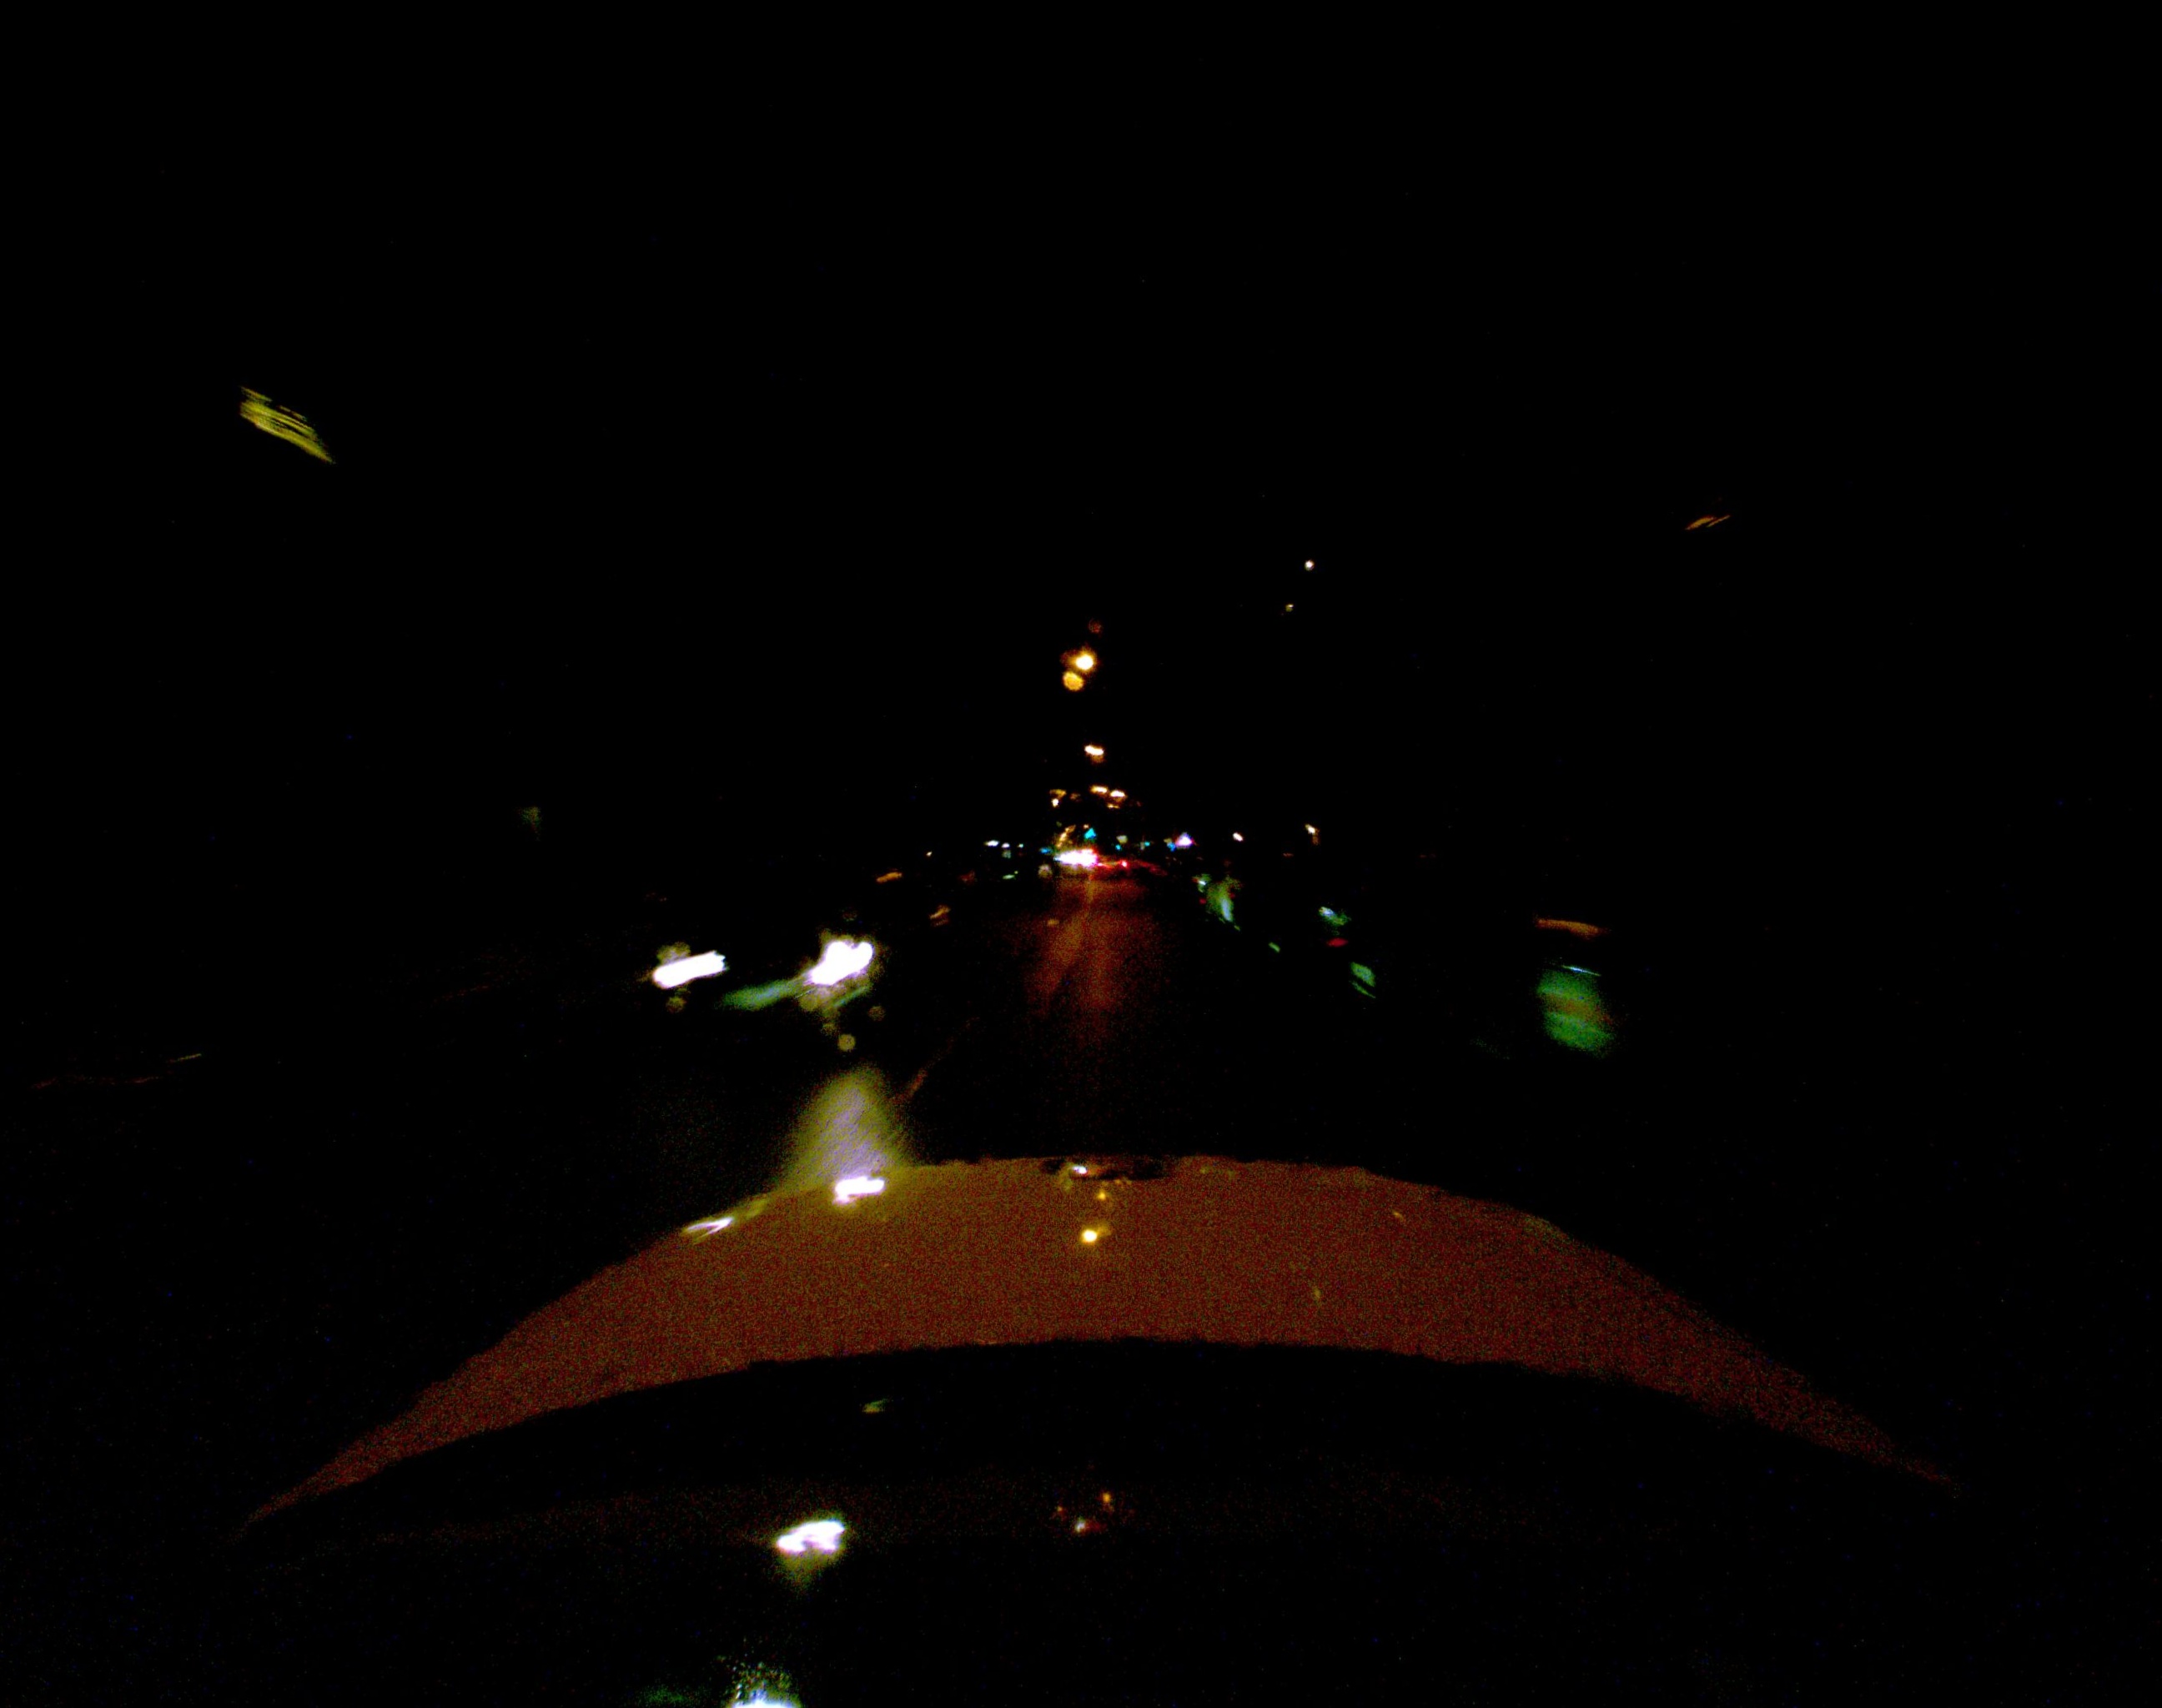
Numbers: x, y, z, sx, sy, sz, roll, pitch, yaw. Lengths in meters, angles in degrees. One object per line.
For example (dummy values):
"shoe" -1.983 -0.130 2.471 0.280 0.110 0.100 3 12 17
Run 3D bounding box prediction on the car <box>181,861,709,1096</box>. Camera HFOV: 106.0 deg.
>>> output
"car" -5.535 0.919 7.914 1.699 1.539 4.062 -4 0 3

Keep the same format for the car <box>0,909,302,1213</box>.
"car" -5.886 1.048 2.714 1.830 1.268 4.643 -4 0 4

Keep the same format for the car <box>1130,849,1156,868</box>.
"car" 5.262 0.342 69.569 1.816 1.422 4.489 -4 0 1

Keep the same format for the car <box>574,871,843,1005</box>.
"car" -5.249 1.083 12.313 1.612 1.418 4.680 -4 0 3

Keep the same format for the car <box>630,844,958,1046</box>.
"car" -2.670 0.728 8.812 1.699 1.539 4.374 -4 0 3

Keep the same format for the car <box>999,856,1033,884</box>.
"car" -3.893 0.933 48.994 1.425 1.460 3.377 -5 0 3

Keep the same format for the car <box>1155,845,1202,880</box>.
"car" 4.569 0.365 38.869 1.669 1.487 4.279 -4 0 0

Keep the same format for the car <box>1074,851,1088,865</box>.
"car" -0.013 0.623 128.970 2.029 1.953 5.197 -5 1 -2

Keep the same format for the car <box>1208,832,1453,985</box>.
"car" 3.151 0.596 11.448 1.862 1.579 4.746 -4 0 -1

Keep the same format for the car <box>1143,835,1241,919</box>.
"car" 2.961 0.552 22.956 1.790 1.950 5.852 -4 0 -1

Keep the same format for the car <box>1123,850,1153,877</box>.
"car" 3.789 0.585 53.880 1.816 1.547 4.358 -4 0 4

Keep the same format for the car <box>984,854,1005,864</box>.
"car" -13.781 0.747 129.663 1.699 1.431 3.939 -2 0 21

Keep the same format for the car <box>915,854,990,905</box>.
"car" -4.622 0.860 29.932 1.659 1.539 4.395 -5 0 3

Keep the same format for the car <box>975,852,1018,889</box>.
"car" -4.176 0.797 40.887 1.742 1.597 4.386 -5 0 -3

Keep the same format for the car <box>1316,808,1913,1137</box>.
"car" 3.291 0.592 6.114 1.790 1.547 3.950 -4 0 -1

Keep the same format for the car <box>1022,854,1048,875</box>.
"car" -3.557 0.806 63.545 1.593 1.431 4.004 -5 0 0

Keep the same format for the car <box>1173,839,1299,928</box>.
"car" 3.141 0.550 17.303 1.790 1.547 3.950 -4 0 -1

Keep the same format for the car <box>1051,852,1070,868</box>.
"car" -2.239 0.666 89.695 1.592 1.564 4.382 -5 0 2

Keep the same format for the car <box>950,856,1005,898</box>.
"car" -4.388 0.933 35.236 1.660 1.539 4.391 -5 0 0

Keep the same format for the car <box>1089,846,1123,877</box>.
"car" 1.796 0.491 56.605 2.159 1.972 4.306 -3 0 3

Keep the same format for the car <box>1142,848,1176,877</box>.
"car" 4.651 0.464 49.035 1.747 1.547 4.982 -4 0 3

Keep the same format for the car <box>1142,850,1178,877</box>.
"car" 4.152 0.471 43.177 1.451 1.306 3.628 -4 0 0
